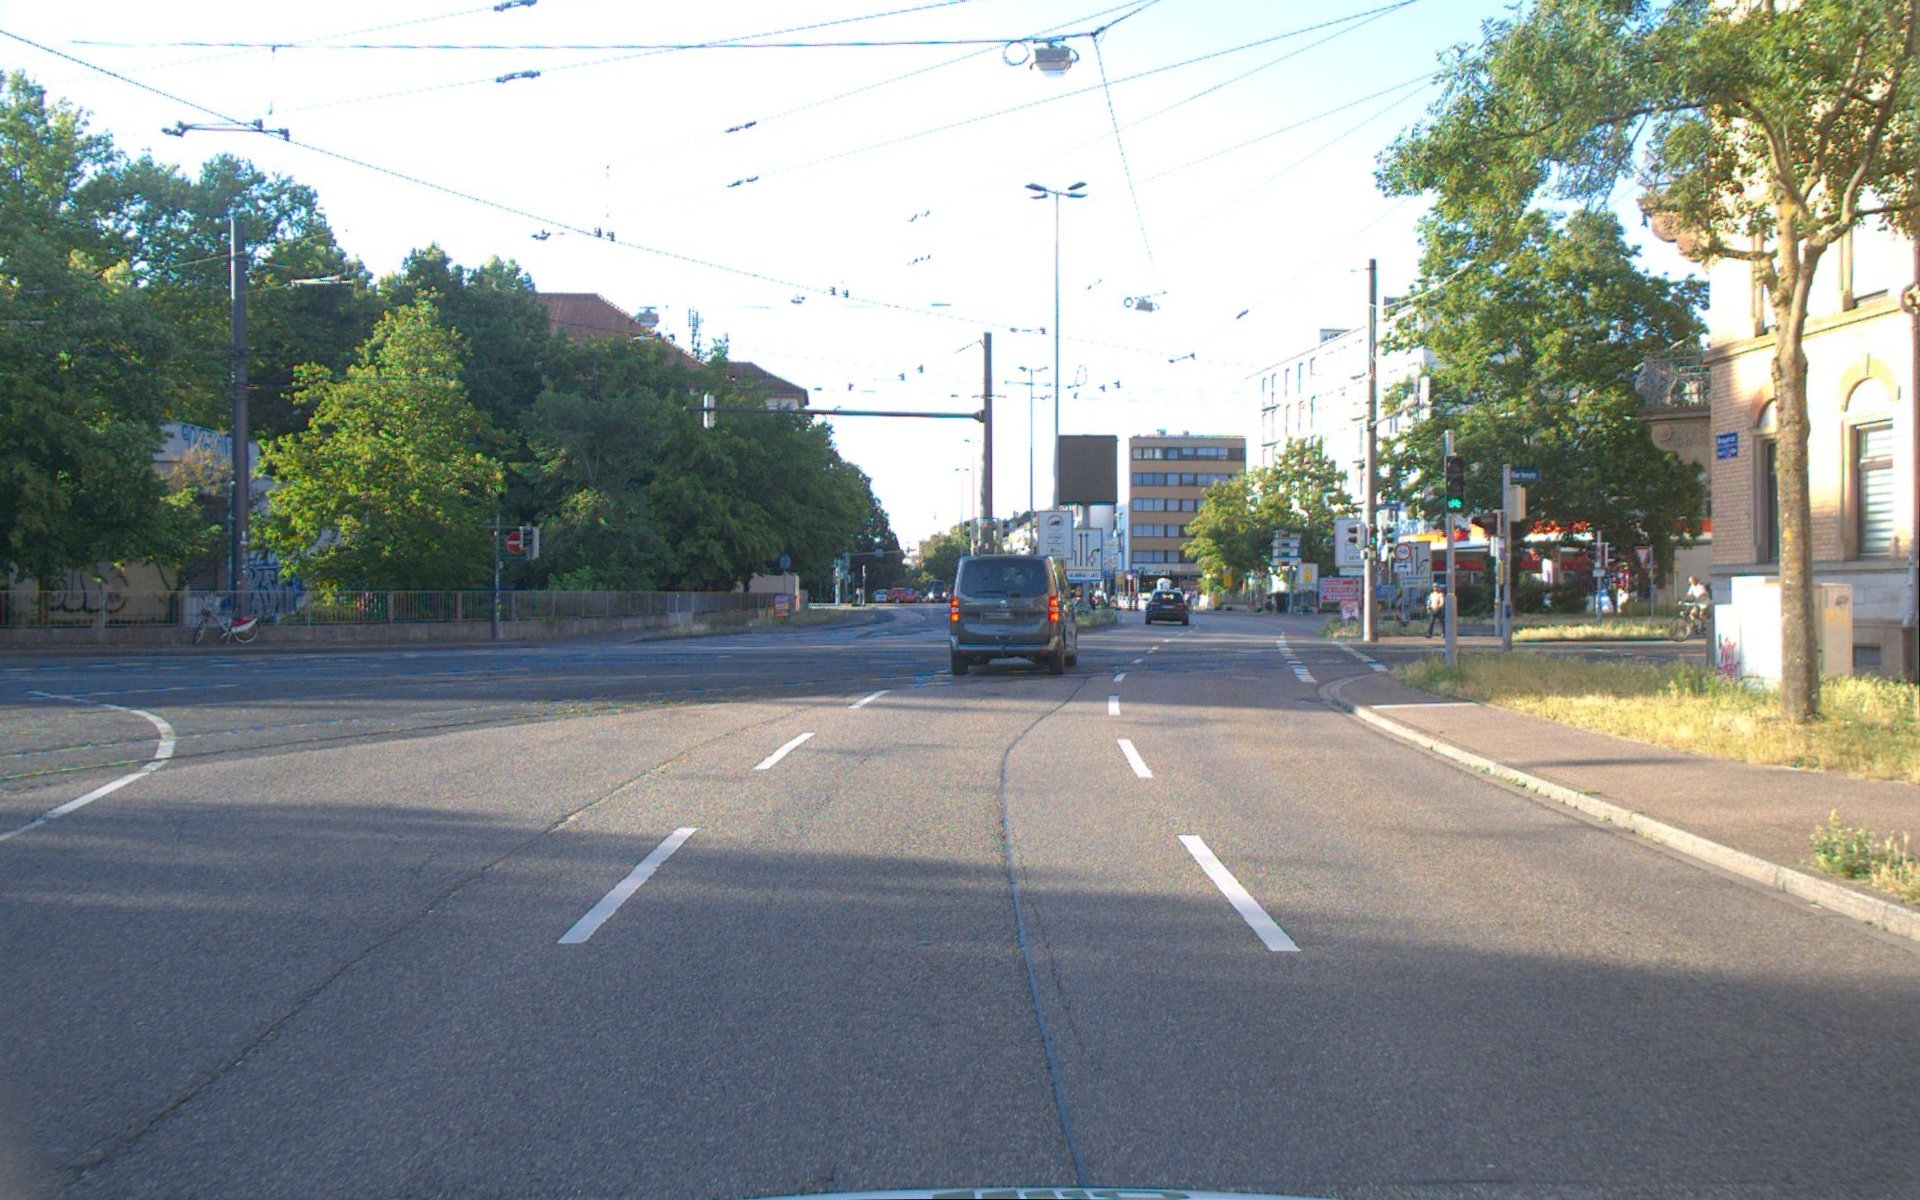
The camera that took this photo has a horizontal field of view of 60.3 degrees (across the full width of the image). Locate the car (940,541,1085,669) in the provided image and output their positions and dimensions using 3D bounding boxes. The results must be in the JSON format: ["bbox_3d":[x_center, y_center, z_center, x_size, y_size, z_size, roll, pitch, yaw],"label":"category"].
[{"bbox_3d":[0.974,0.060,27.887,1.951,1.934,4.302,2,0,8],"label":"car"}]

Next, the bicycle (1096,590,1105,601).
[{"bbox_3d":[11.909,-0.386,140.089,0.522,0.862,1.682,0,0,-2],"label":"bicycle"}]

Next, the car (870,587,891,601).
[{"bbox_3d":[-8.898,-0.676,185.932,1.952,1.623,4.002,0,1,3],"label":"car"}]

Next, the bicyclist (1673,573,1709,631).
[{"bbox_3d":[20.448,0.052,46.265,0.681,1.611,0.635,0,0,-12],"label":"bicyclist"}]

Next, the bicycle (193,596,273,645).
[{"bbox_3d":[-17.937,0.494,40.829,0.550,1.162,1.710,0,1,44],"label":"bicycle"}]

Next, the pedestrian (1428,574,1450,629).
[{"bbox_3d":[14.495,0.033,50.056,0.540,1.657,0.700,0,0,6],"label":"pedestrian"}]

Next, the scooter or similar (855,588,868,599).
[{"bbox_3d":[-8.706,-0.592,145.912,1.080,0.993,0.557,1,0,-13],"label":"scooter or similar"}]

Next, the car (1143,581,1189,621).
[{"bbox_3d":[8.425,0.028,67.983,1.806,1.571,3.634,0,1,6],"label":"car"}]

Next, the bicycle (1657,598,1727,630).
[{"bbox_3d":[20.480,0.387,46.259,1.778,0.843,0.620,-1,0,-13],"label":"bicycle"}]

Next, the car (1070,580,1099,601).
[{"bbox_3d":[10.151,-0.787,134.960,1.953,1.685,4.297,0,0,-2],"label":"car"}]

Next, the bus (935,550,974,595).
[{"bbox_3d":[-0.657,-2.949,181.576,3.227,4.697,9.986,1,0,-6],"label":"bus"}]

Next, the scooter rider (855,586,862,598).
[{"bbox_3d":[-8.923,-0.708,145.866,0.500,1.054,0.444,1,0,-14],"label":"scooter rider"}]

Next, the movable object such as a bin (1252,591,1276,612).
[{"bbox_3d":[20.895,0.087,113.691,1.432,1.410,1.548,0,0,5],"label":"movable object such as a bin"}]

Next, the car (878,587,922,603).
[{"bbox_3d":[-5.912,-0.514,163.549,3.930,1.623,1.988,0,1,-21],"label":"car"}]
